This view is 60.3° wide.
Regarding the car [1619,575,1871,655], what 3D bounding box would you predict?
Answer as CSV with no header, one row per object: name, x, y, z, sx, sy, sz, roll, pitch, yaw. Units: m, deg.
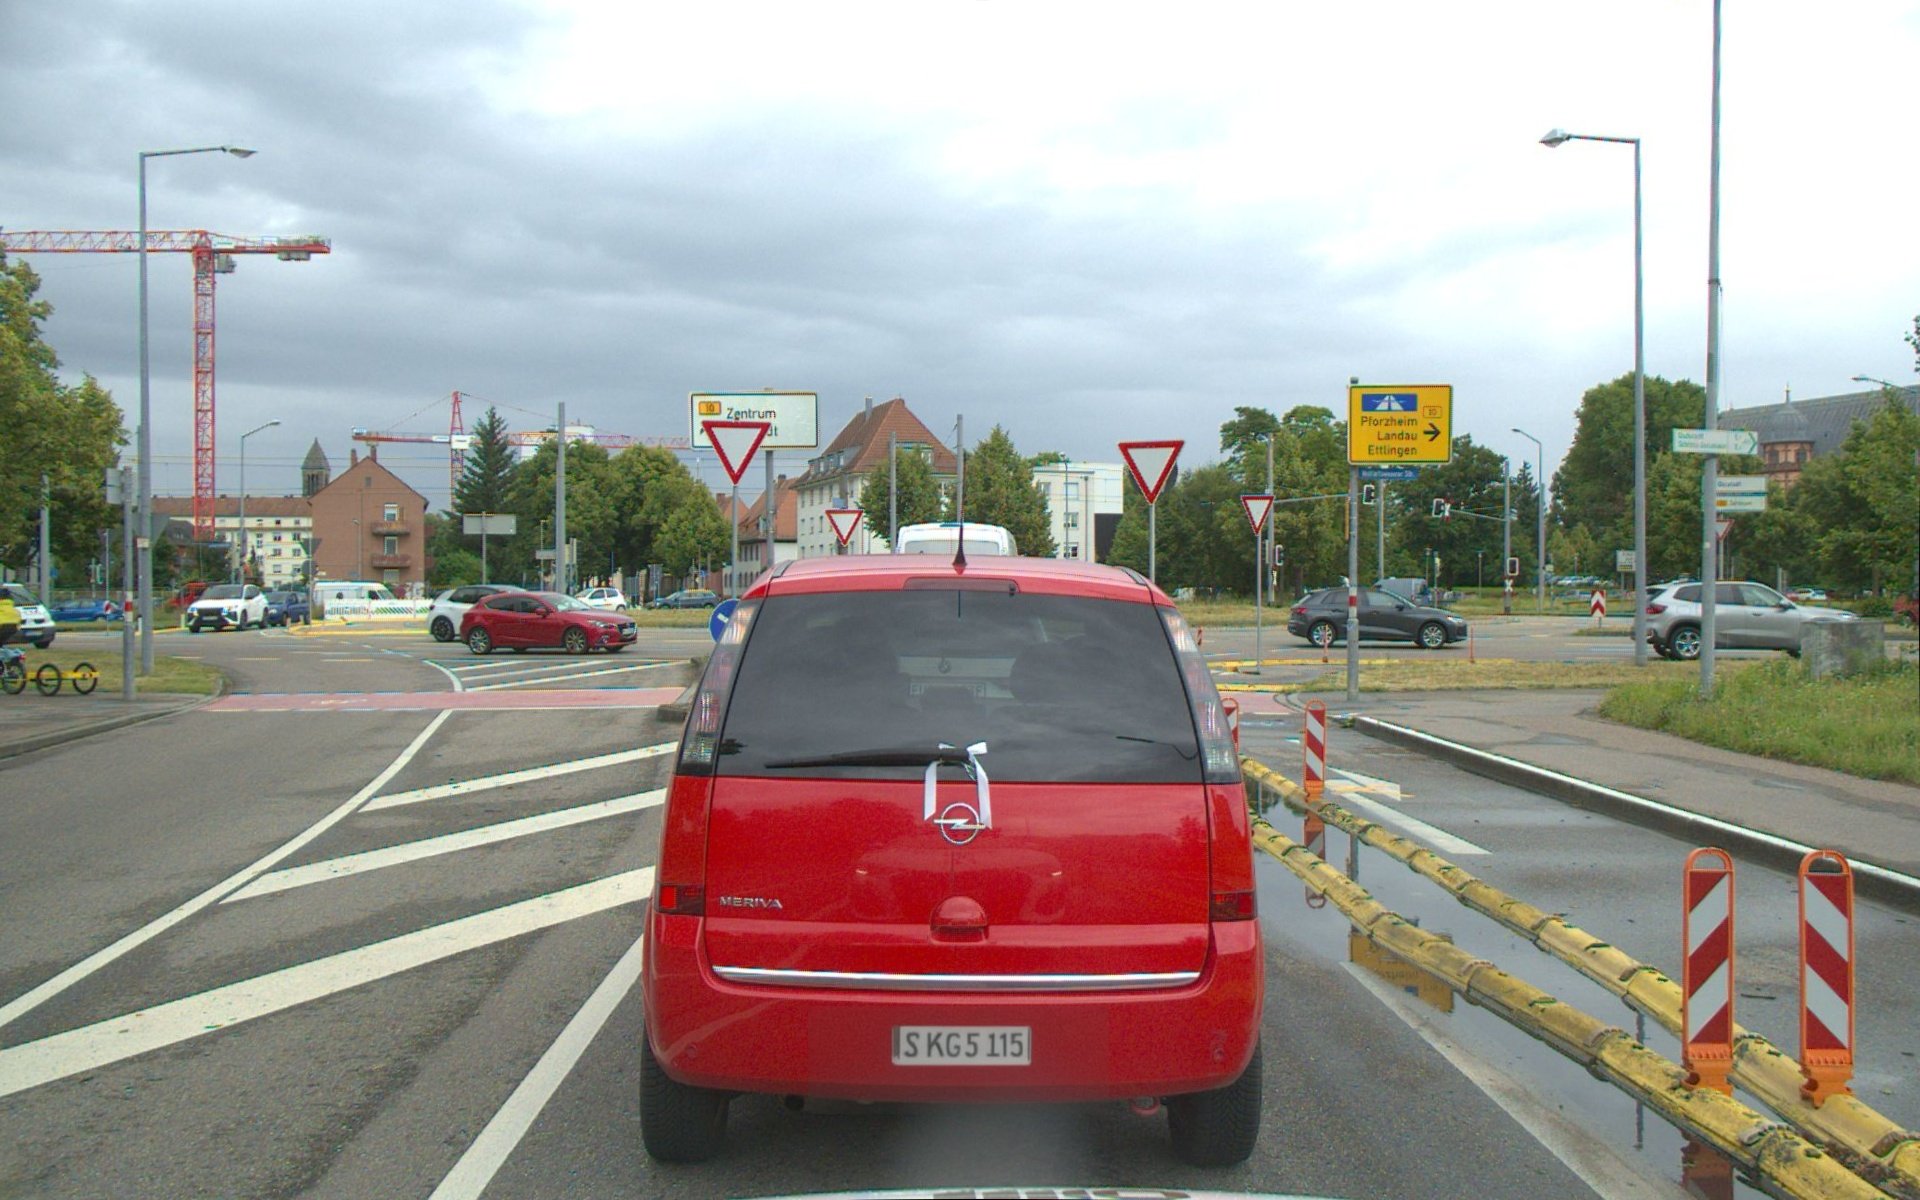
car,16.395,0.305,34.781,4.420,1.611,2.002,0,0,11

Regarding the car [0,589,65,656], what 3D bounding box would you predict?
car,-29.135,0.649,49.327,4.742,1.933,2.095,0,0,30

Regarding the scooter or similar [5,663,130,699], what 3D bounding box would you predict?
scooter or similar,-14.258,1.288,26.445,1.573,0.513,0.925,0,0,17

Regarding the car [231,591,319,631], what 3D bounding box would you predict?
car,-27.797,0.421,67.246,1.891,1.515,4.000,-1,0,-1

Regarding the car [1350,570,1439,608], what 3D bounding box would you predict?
car,24.170,-0.606,92.119,4.393,2.049,1.990,0,0,39

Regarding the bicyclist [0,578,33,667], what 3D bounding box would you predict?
bicyclist,-15.756,0.353,26.903,1.039,1.426,0.615,0,0,16

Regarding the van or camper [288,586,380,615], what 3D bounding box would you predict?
van or camper,-45.289,0.053,119.738,6.045,2.049,2.002,0,0,10

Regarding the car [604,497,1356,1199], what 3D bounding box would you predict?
car,0.020,0.607,5.465,1.639,1.669,3.626,1,0,-1

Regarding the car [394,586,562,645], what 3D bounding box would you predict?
car,-13.119,0.414,45.132,3.902,1.534,2.002,0,0,7

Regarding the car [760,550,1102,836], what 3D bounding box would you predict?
car,-0.207,0.537,12.161,2.018,1.676,4.606,1,0,-1

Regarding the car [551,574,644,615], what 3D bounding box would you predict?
car,-18.882,-0.296,86.282,1.966,2.049,4.450,0,0,44

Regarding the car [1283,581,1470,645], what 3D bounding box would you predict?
car,10.113,0.299,40.428,4.216,1.489,2.002,0,0,7

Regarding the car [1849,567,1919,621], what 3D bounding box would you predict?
car,35.538,-0.232,61.032,2.073,1.951,4.872,-1,0,-14

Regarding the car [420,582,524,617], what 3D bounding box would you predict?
car,-23.666,-0.033,80.317,1.959,1.663,4.660,0,0,34

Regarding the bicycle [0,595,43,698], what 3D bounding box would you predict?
bicycle,-15.758,0.741,26.906,1.446,1.640,0.606,0,0,16

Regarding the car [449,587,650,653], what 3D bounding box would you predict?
car,-9.748,0.467,39.313,4.253,1.489,2.000,0,0,21

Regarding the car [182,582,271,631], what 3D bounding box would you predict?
car,-26.841,0.206,60.635,1.895,1.713,4.181,-1,0,-9

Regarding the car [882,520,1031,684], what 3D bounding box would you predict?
car,0.050,0.011,28.963,2.149,2.584,4.965,1,0,5
